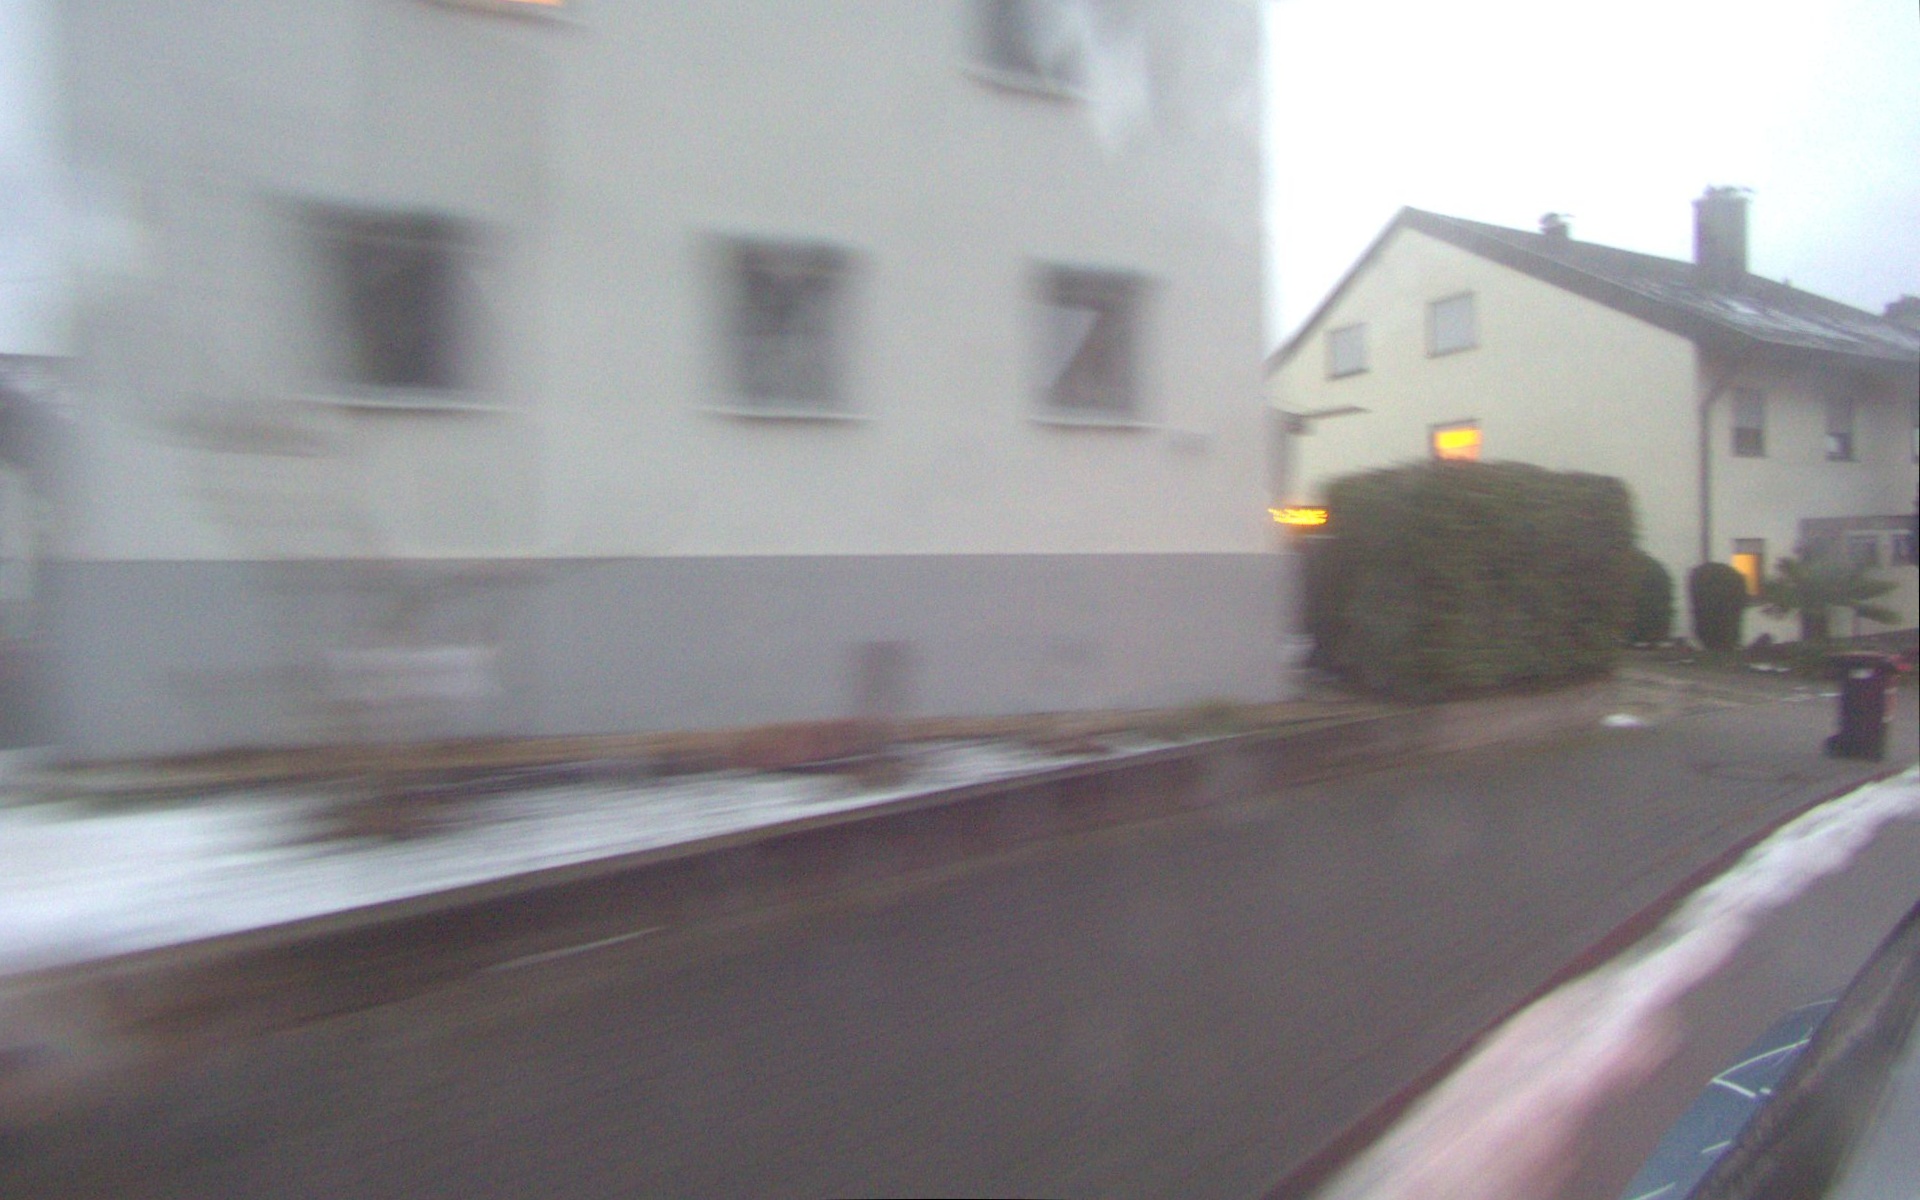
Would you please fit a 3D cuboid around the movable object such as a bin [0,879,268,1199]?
[{"bbox_3d":[-1.122,0.871,1.004,0.673,0.929,0.638,1,0,-38],"label":"movable object such as a bin"}]

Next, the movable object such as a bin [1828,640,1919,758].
[{"bbox_3d":[8.062,0.847,8.870,0.676,0.950,0.539,1,0,-35],"label":"movable object such as a bin"}]
